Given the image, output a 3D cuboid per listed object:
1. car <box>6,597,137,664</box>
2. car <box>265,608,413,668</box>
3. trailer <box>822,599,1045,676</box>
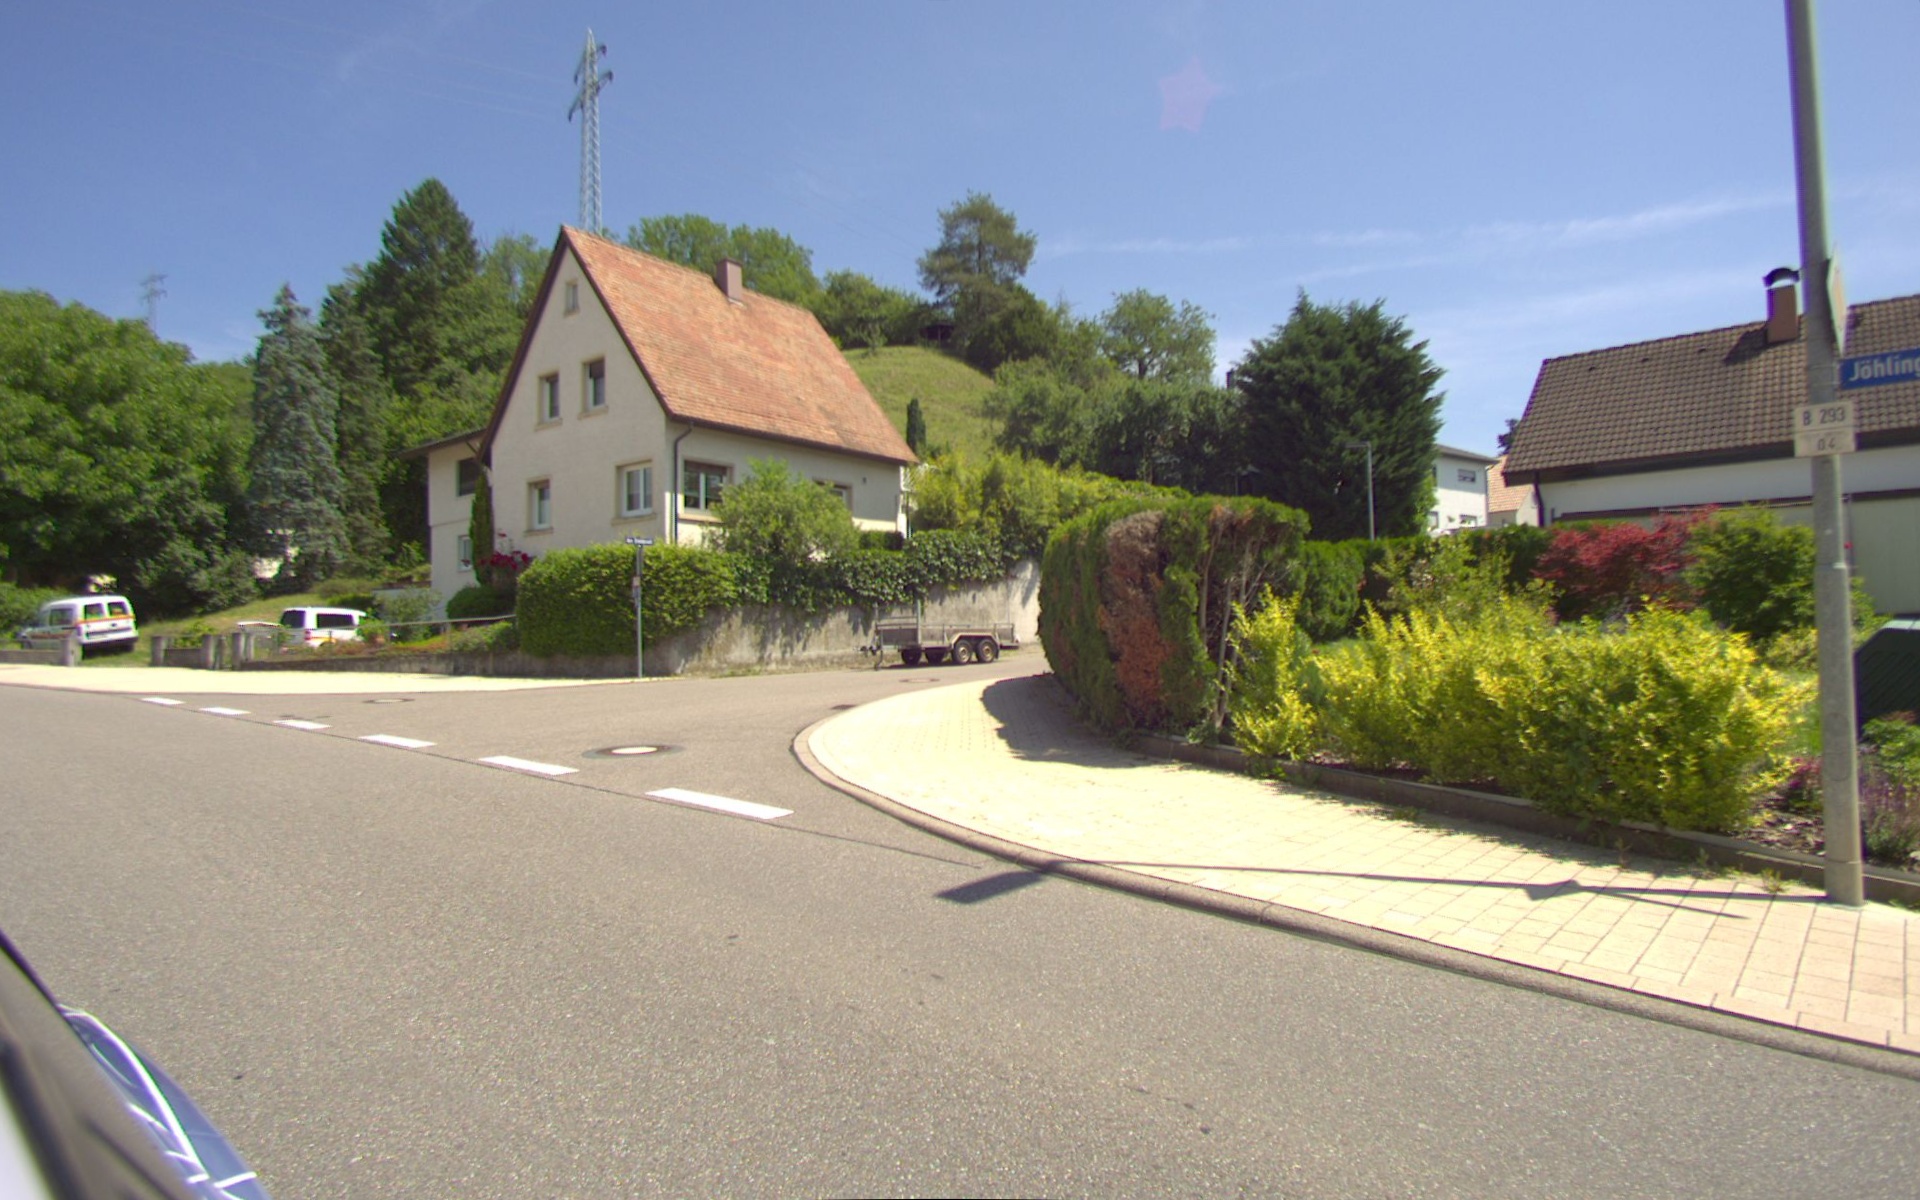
[{"bbox_3d":[-27.440,0.926,31.251,3.979,1.963,1.689,-1,-1,27],"label":"car"},{"bbox_3d":[-20.830,1.312,34.121,1.799,1.803,3.970,-5,-4,22],"label":"car"},{"bbox_3d":[-0.521,0.804,23.402,5.000,1.516,2.003,-1,-1,-41],"label":"trailer"}]
